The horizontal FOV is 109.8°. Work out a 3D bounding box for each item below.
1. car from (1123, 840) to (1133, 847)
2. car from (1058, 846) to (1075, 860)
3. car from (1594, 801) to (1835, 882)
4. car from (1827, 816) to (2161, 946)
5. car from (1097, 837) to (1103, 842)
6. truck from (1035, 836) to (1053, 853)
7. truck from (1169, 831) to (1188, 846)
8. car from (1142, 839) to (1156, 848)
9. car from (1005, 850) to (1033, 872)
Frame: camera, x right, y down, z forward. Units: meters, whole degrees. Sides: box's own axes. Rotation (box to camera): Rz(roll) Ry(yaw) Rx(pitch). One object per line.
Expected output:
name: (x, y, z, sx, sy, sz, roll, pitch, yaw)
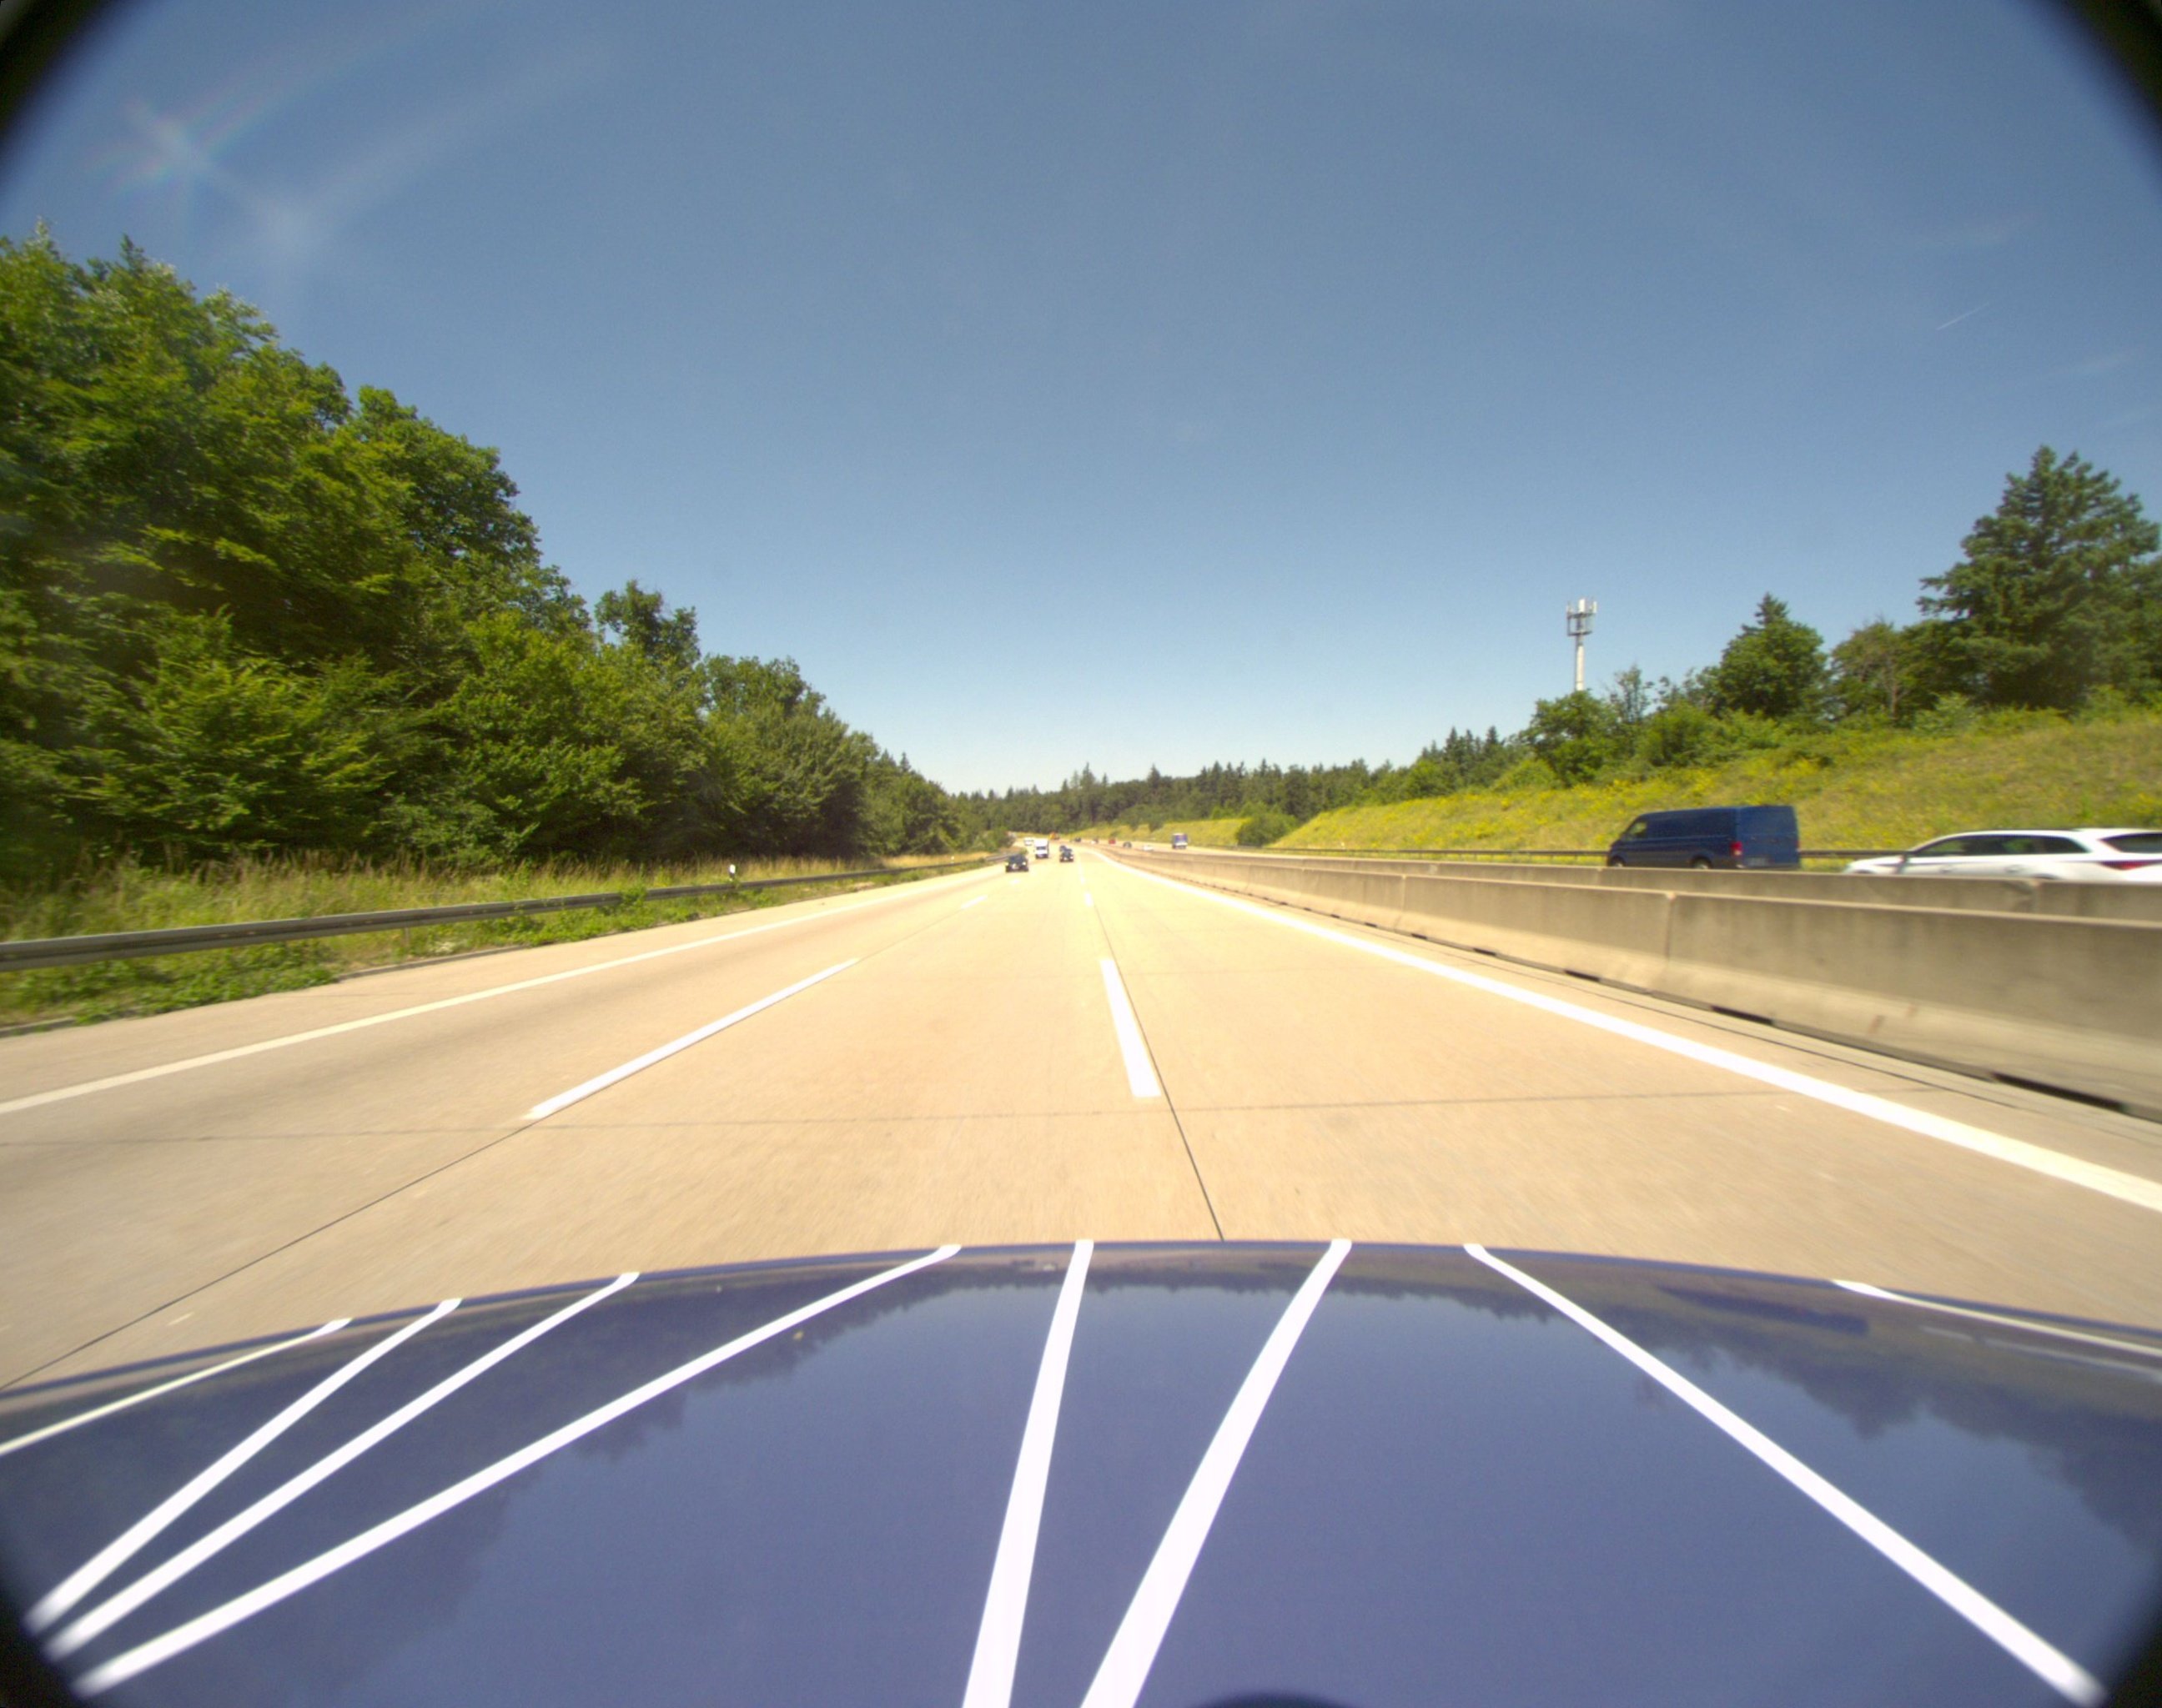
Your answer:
car: (11.292, -2.451, 182.907, 1.999, 1.595, 4.657, -2, 1, -2)
car: (-1.949, -0.117, 102.181, 1.998, 1.694, 4.399, -2, 1, 1)
car: (20.248, -0.379, 24.895, 2.487, 2.197, 6.458, -2, 0, 0)
car: (16.065, 0.335, 12.887, 2.013, 1.797, 4.853, -2, 0, 0)
car: (6.589, -5.169, 265.328, 1.999, 1.595, 4.410, -2, 1, -2)
truck: (-6.270, -1.618, 129.103, 2.483, 2.780, 5.914, -2, 1, 1)
truck: (19.531, -3.078, 152.273, 2.568, 2.972, 7.833, -2, 1, 0)
car: (12.637, -1.892, 141.051, 1.999, 1.595, 4.410, -2, 1, -2)
car: (-5.263, 0.537, 64.888, 1.931, 1.694, 4.399, -2, 1, 1)
